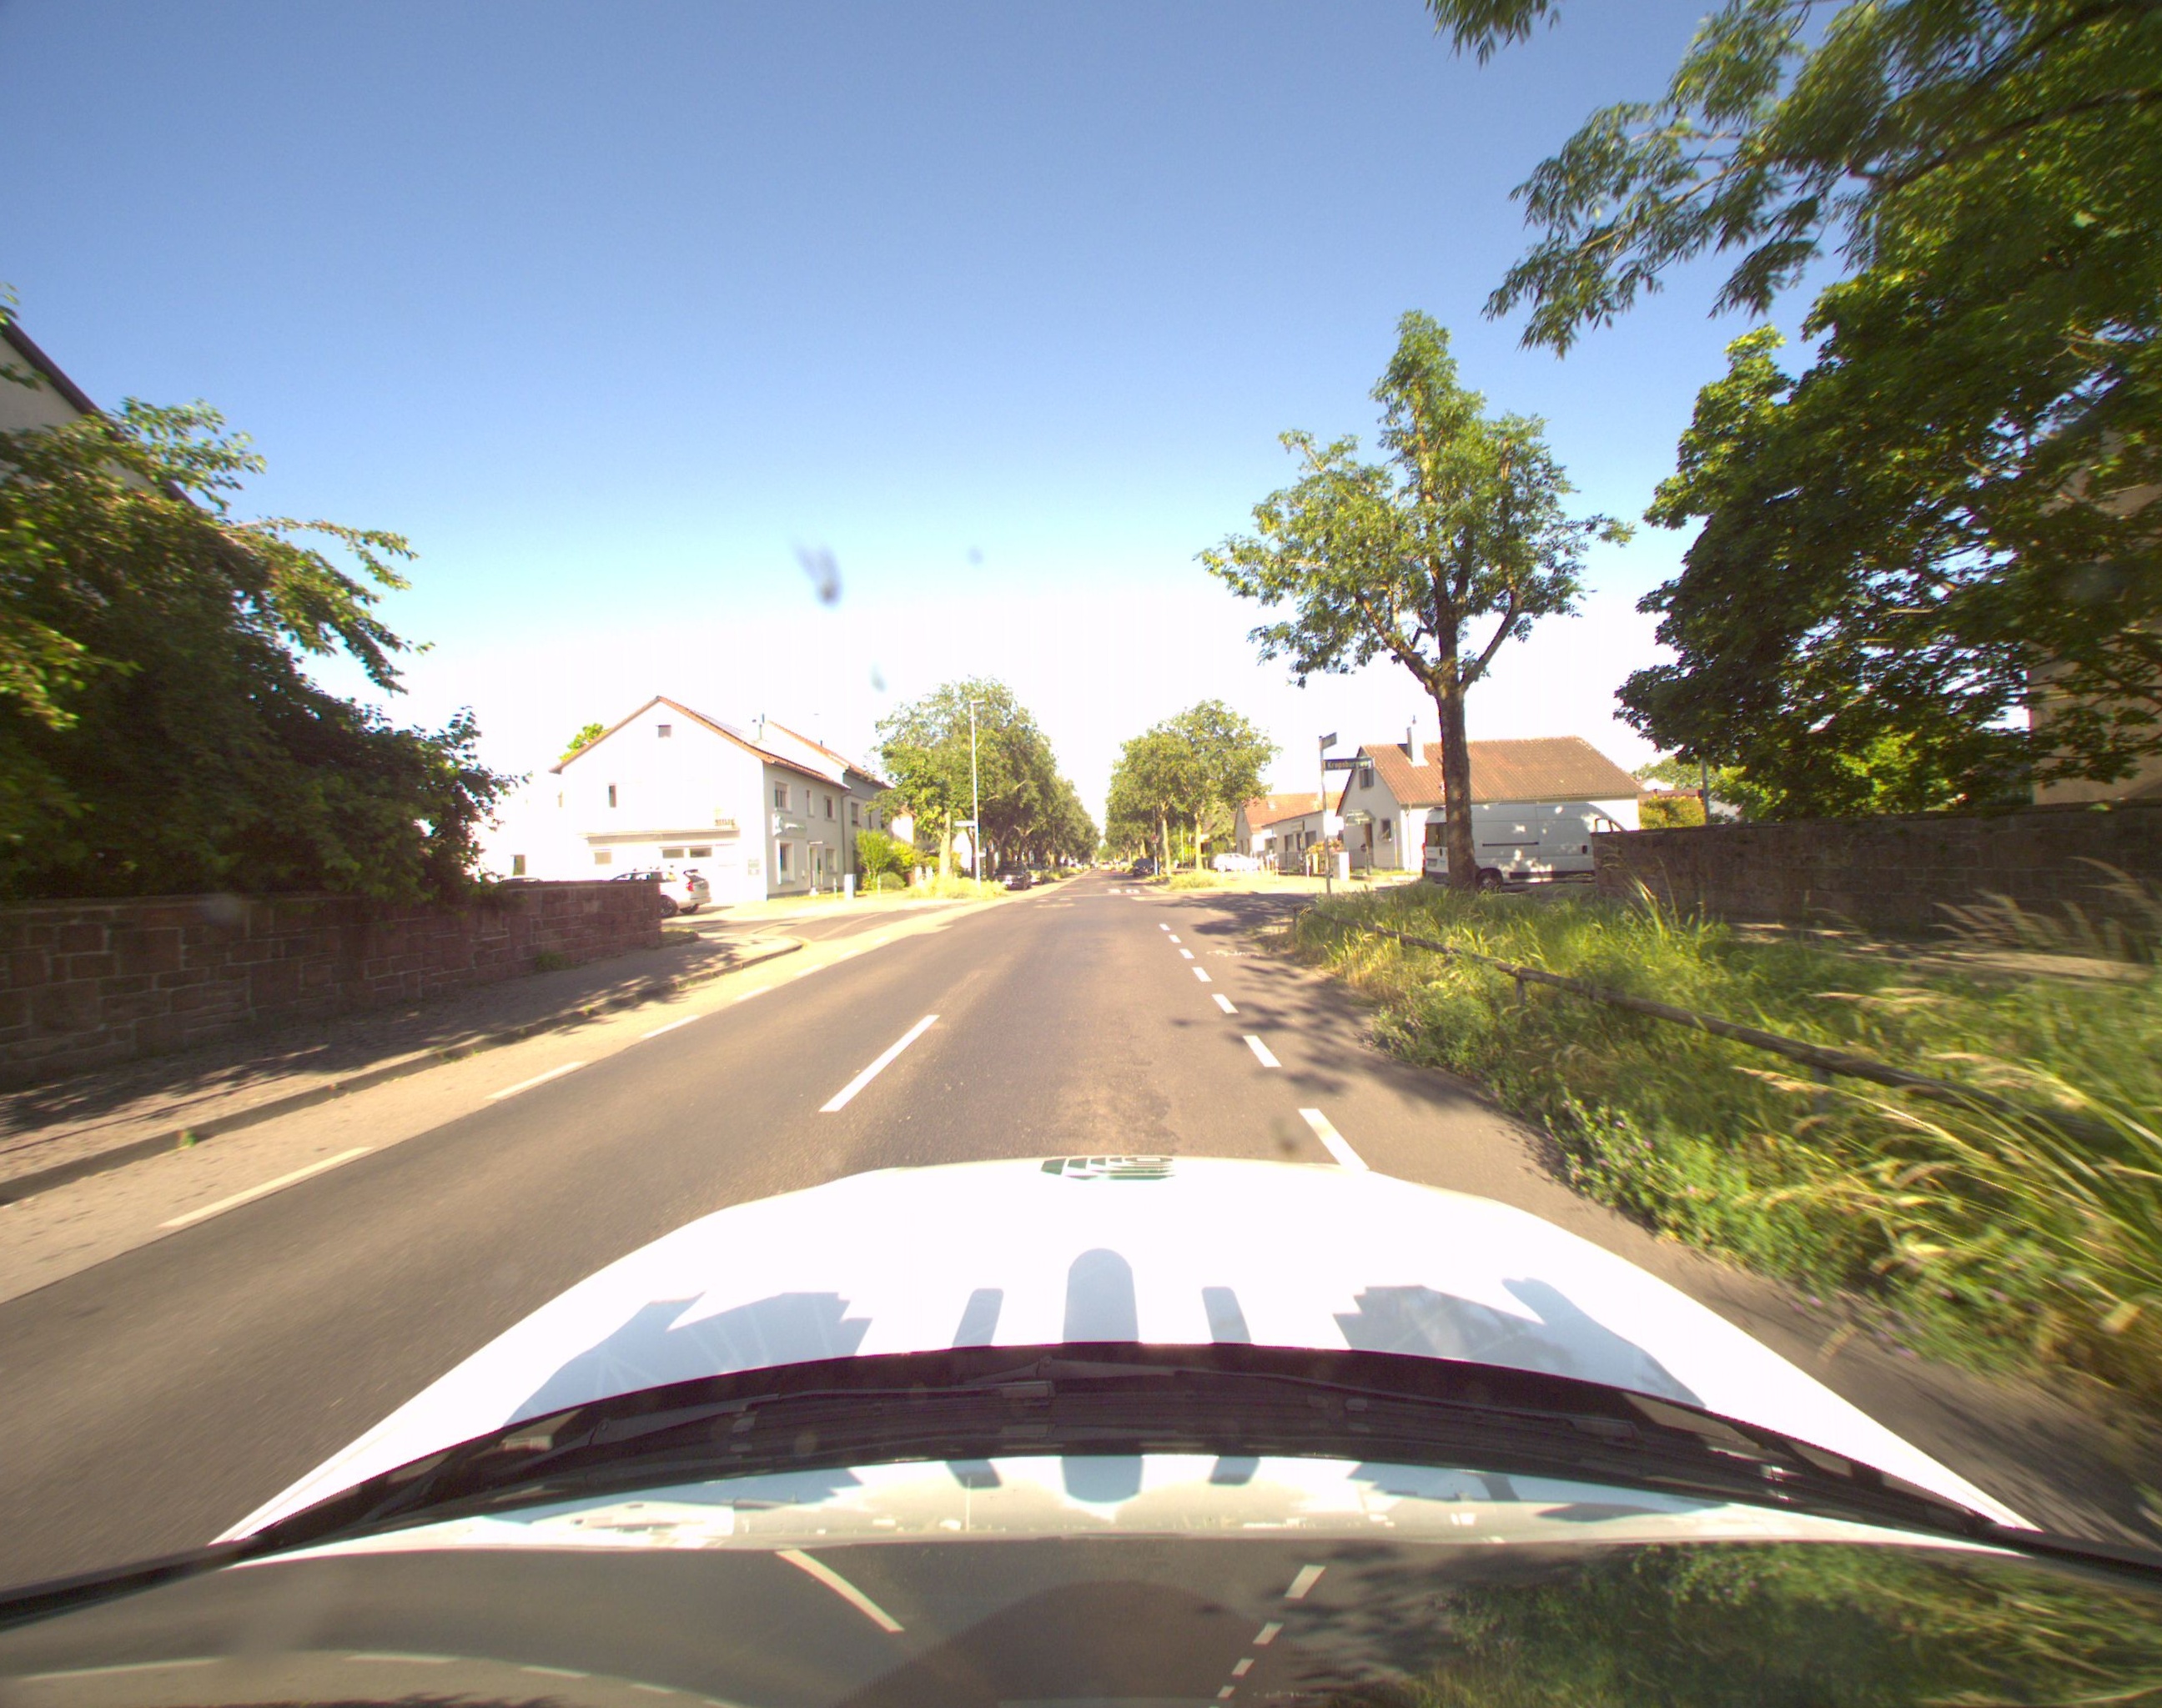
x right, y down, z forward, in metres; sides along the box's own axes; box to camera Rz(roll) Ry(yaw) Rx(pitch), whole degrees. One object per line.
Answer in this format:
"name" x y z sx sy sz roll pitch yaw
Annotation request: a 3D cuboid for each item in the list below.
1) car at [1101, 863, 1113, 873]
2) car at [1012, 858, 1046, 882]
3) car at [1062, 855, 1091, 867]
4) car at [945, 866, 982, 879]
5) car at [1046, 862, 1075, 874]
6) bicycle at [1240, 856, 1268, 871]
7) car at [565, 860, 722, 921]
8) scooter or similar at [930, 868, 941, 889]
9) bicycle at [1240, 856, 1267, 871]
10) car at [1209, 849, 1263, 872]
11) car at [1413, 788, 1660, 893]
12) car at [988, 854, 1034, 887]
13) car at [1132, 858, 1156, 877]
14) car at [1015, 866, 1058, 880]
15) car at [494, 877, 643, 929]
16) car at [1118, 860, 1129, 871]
"car" 4.176 2.268 132.339 1.881 1.479 3.887 0 -1 0
"car" -3.693 1.159 58.282 1.931 1.609 4.386 -1 -2 3
"car" -0.893 1.328 156.298 5.481 2.247 2.516 -1 1 0
"car" -15.530 2.437 107.678 4.543 1.618 1.998 -1 1 -3
"car" -3.295 2.140 128.428 4.536 1.765 1.998 -1 1 -4
"bicycle" 13.290 0.747 62.506 1.952 0.998 0.576 -4 1 0
"car" -15.784 1.303 29.578 4.477 1.837 1.999 -3 2 -2
"scooter or similar" -7.240 1.193 40.474 0.334 1.001 0.997 -3 -1 -2
"bicycle" 13.419 0.737 63.494 1.917 0.998 0.576 -4 1 0
"car" 12.445 0.512 65.606 3.974 1.488 1.902 -4 1 0
"car" 12.566 -0.357 22.764 5.578 2.539 2.265 -2 0 -1
"car" -3.930 0.965 46.492 1.945 1.727 4.877 -1 -2 3
"car" 5.645 1.239 73.848 1.846 1.626 4.470 -4 -1 1
"car" -4.937 2.113 90.705 4.538 1.511 1.842 -1 1 1
"car" -20.386 1.924 32.540 4.493 1.555 1.997 -4 1 -5
"car" 7.579 2.073 146.974 1.895 1.774 4.303 -1 -1 2
